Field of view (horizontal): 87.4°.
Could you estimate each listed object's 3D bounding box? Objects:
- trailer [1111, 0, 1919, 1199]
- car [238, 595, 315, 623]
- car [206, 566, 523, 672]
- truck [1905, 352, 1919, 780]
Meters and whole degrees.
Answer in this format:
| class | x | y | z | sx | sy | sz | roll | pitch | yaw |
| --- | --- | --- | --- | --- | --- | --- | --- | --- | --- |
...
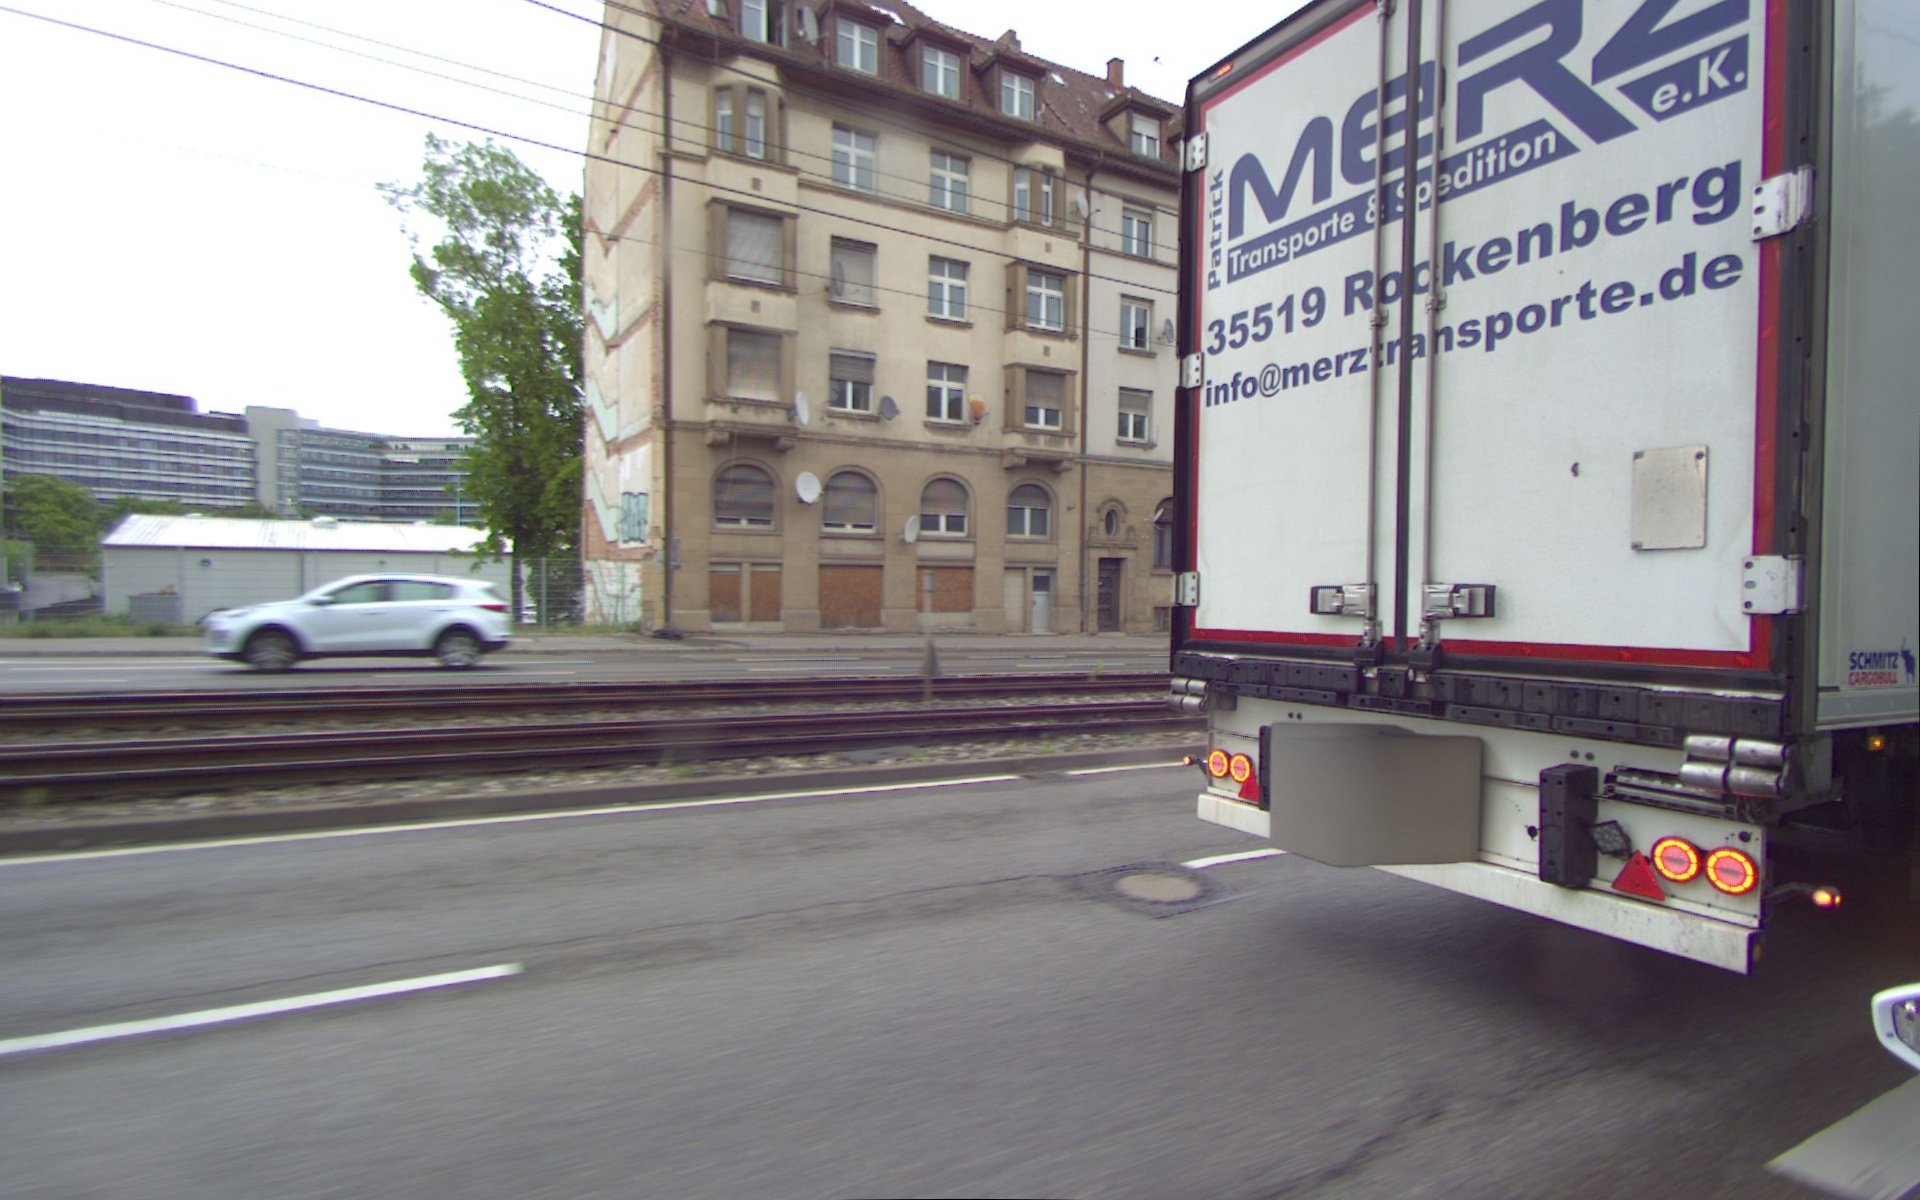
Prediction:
| class | x | y | z | sx | sy | sz | roll | pitch | yaw |
| --- | --- | --- | --- | --- | --- | --- | --- | --- | --- |
| trailer | 7.062 | -0.425 | 7.048 | 13.028 | 4.309 | 2.749 | 1 | -1 | -30 |
| car | -43.041 | 0.570 | 63.338 | 3.958 | 1.676 | 1.730 | 2 | 0 | -34 |
| car | -10.000 | 0.313 | 17.191 | 4.437 | 1.618 | 1.736 | 1 | 0 | -31 |
| truck | 12.846 | -0.286 | 10.458 | 6.232 | 4.261 | 2.743 | 1 | -1 | -30 |
